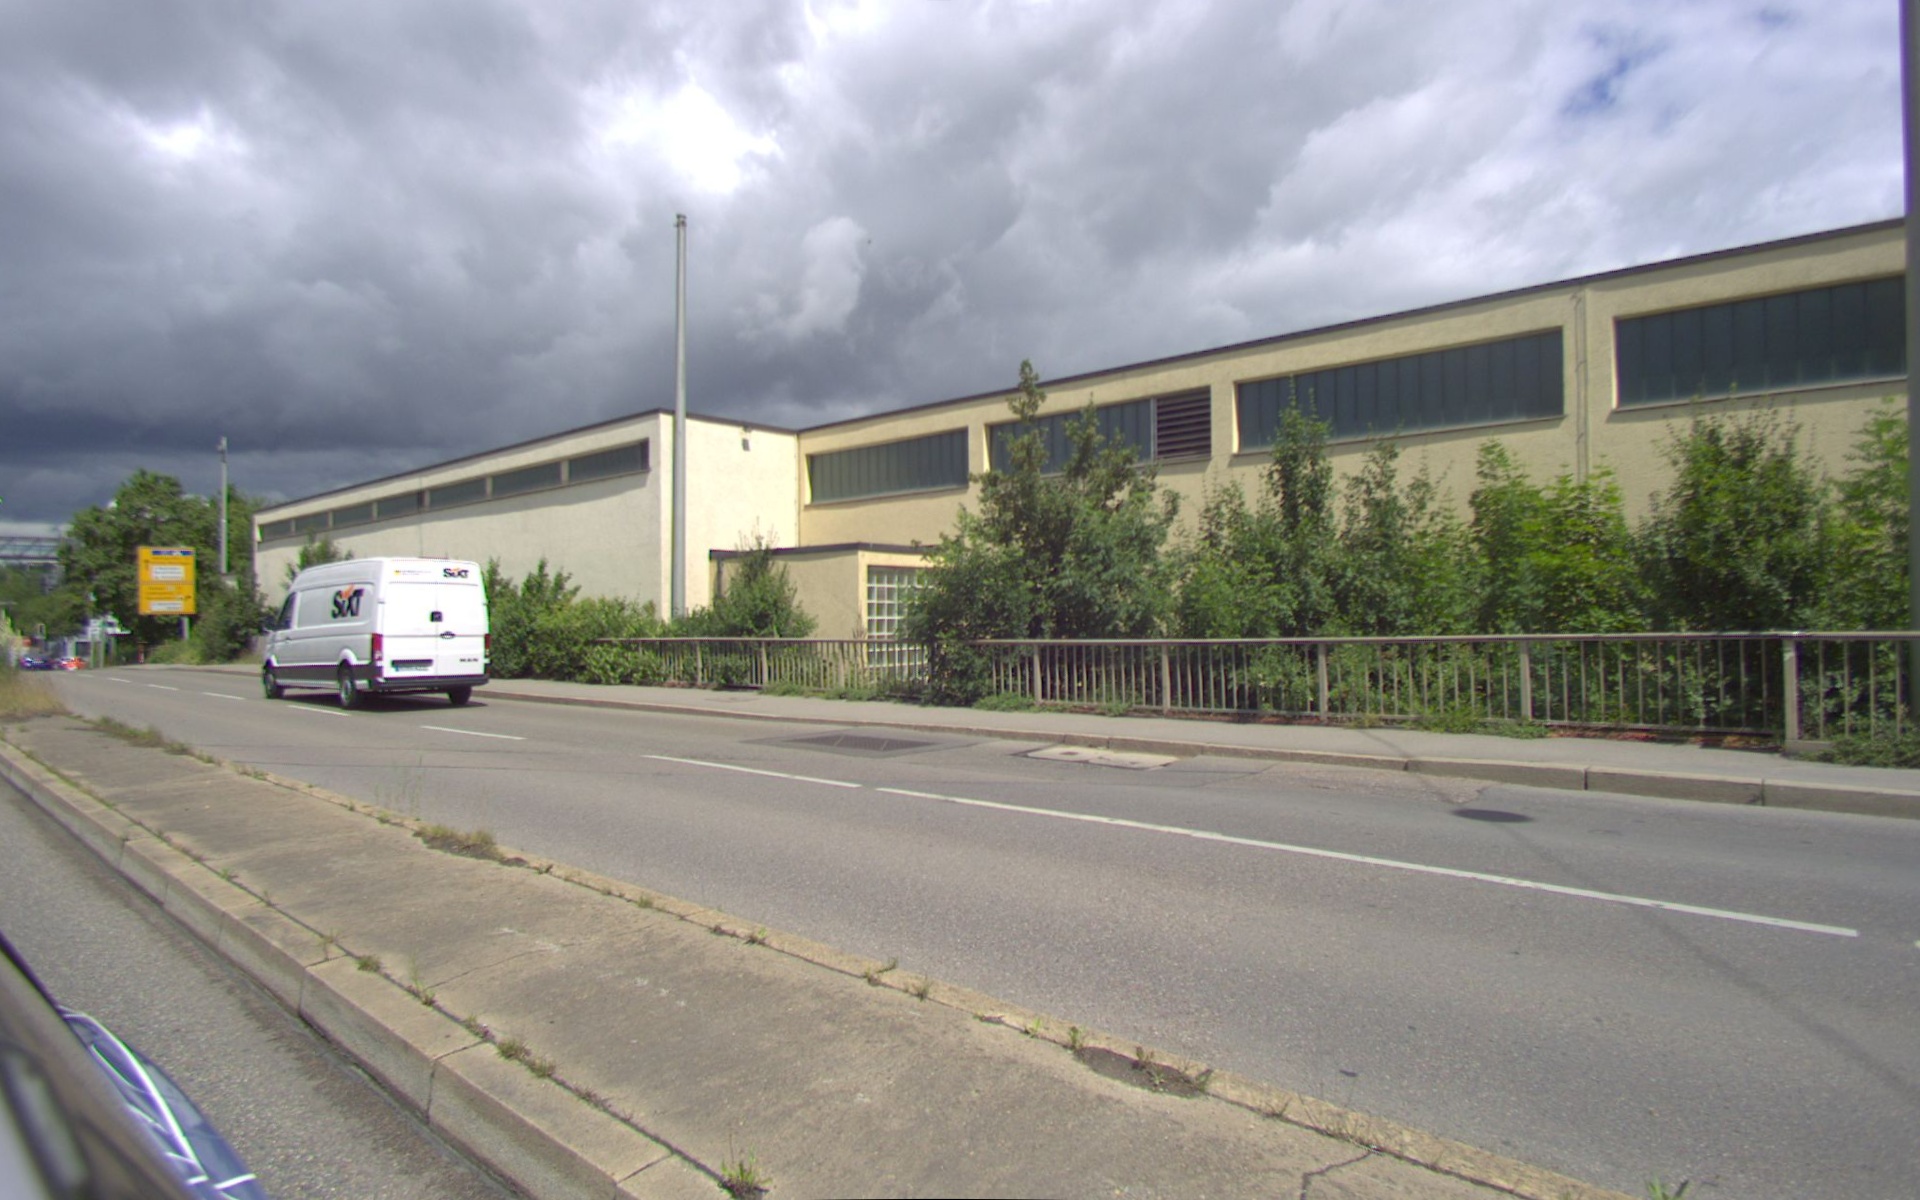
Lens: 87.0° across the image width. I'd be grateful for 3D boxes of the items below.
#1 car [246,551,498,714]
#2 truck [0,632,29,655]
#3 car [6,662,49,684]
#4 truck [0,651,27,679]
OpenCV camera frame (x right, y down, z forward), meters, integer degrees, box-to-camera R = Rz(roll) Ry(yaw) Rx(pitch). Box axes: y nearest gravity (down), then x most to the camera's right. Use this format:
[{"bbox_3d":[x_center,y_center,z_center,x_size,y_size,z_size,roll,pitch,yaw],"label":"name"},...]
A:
[{"bbox_3d":[-11.316,0.619,19.177,6.818,2.591,2.045,-2,-3,41],"label":"car"},{"bbox_3d":[-169.315,7.821,179.067,8.909,3.595,2.349,-4,-2,16],"label":"truck"},{"bbox_3d":[-59.039,4.608,64.070,4.001,1.285,1.734,-3,-4,44],"label":"car"},{"bbox_3d":[-114.702,7.870,122.028,2.820,2.879,9.389,0,-5,-41],"label":"truck"}]
